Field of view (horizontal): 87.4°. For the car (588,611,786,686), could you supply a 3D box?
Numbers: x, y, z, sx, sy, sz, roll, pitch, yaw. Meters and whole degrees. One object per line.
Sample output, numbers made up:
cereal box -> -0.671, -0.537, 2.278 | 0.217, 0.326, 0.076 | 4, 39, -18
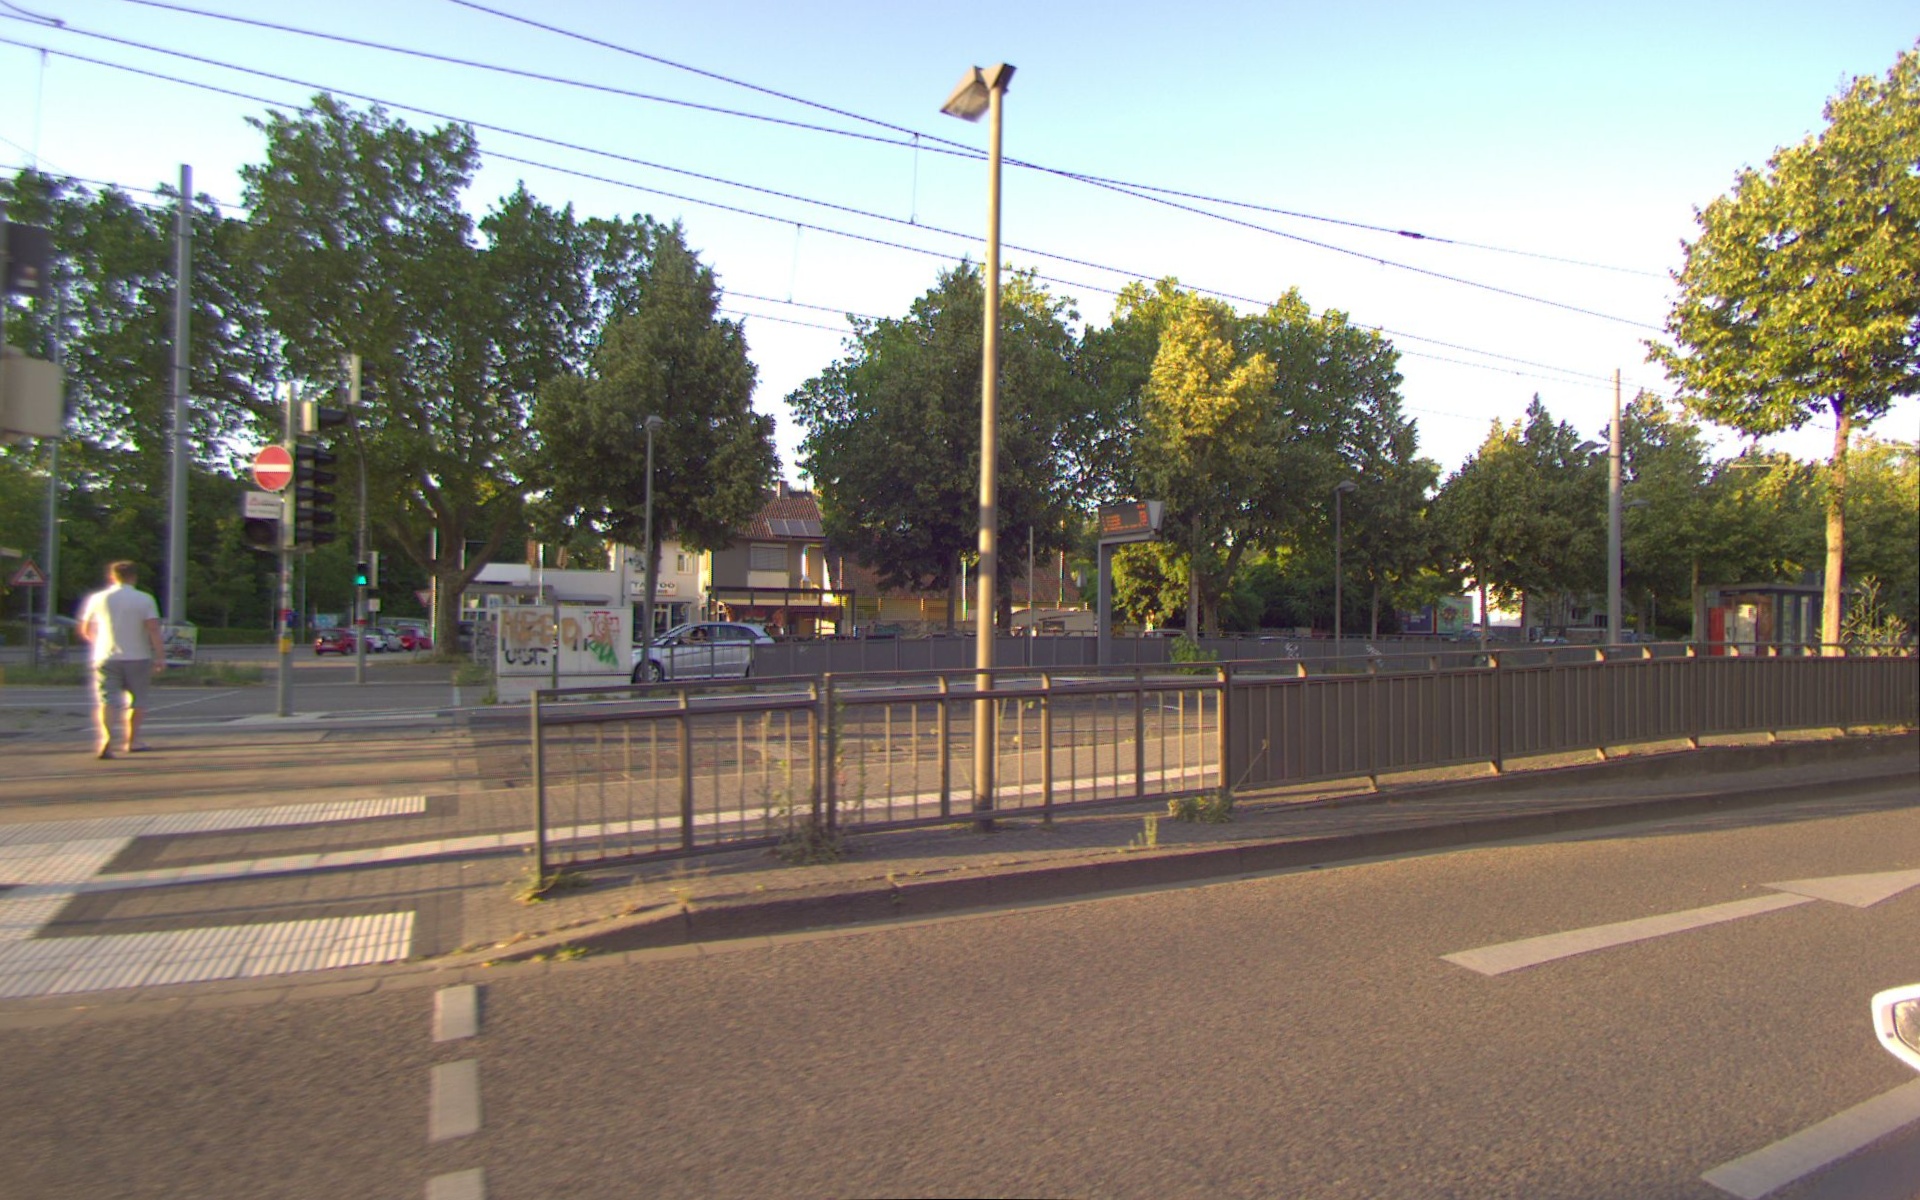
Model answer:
car -> -6.847, 1.204, 25.286 | 4.495, 1.750, 1.847 | 2, -2, -30

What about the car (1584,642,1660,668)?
car -> 40.849, 3.386, 61.984 | 4.183, 1.484, 1.989 | 1, -2, -23

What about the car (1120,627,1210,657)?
car -> 10.487, 2.155, 51.374 | 4.183, 1.484, 1.989 | 1, -2, -23

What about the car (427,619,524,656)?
car -> -24.946, 1.928, 51.902 | 4.325, 1.859, 1.940 | 1, -1, -21

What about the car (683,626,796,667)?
car -> -9.006, 1.869, 41.003 | 4.183, 1.598, 1.989 | 1, -2, -23

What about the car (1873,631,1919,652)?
car -> 83.662, 3.688, 89.575 | 4.163, 1.839, 1.901 | 1, -2, -25

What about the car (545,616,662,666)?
car -> -13.861, 1.595, 39.058 | 4.183, 1.871, 1.989 | 1, -2, -23

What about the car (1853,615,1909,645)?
car -> 68.369, 2.209, 74.541 | 3.948, 2.213, 1.769 | 1, -1, -26

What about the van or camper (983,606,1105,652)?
van or camper -> 4.673, 1.637, 56.044 | 6.488, 2.441, 2.253 | 1, -2, -21

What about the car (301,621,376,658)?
car -> -33.953, 2.146, 54.988 | 1.838, 1.899, 3.872 | 1, -1, -4

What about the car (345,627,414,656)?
car -> -34.099, 2.405, 59.102 | 1.962, 1.595, 3.997 | 1, -1, -6

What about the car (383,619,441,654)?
car -> -34.402, 2.271, 63.171 | 1.886, 2.074, 3.996 | 1, -1, -7

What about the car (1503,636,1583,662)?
car -> 33.885, 2.845, 58.386 | 4.183, 1.484, 1.989 | 1, -2, -23

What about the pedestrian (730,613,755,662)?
pedestrian -> -7.940, 1.356, 36.693 | 0.706, 1.777, 0.897 | 1, -1, -1

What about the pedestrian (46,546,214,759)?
pedestrian -> -7.503, 0.465, 9.117 | 0.748, 1.814, 0.803 | 2, -2, 5
